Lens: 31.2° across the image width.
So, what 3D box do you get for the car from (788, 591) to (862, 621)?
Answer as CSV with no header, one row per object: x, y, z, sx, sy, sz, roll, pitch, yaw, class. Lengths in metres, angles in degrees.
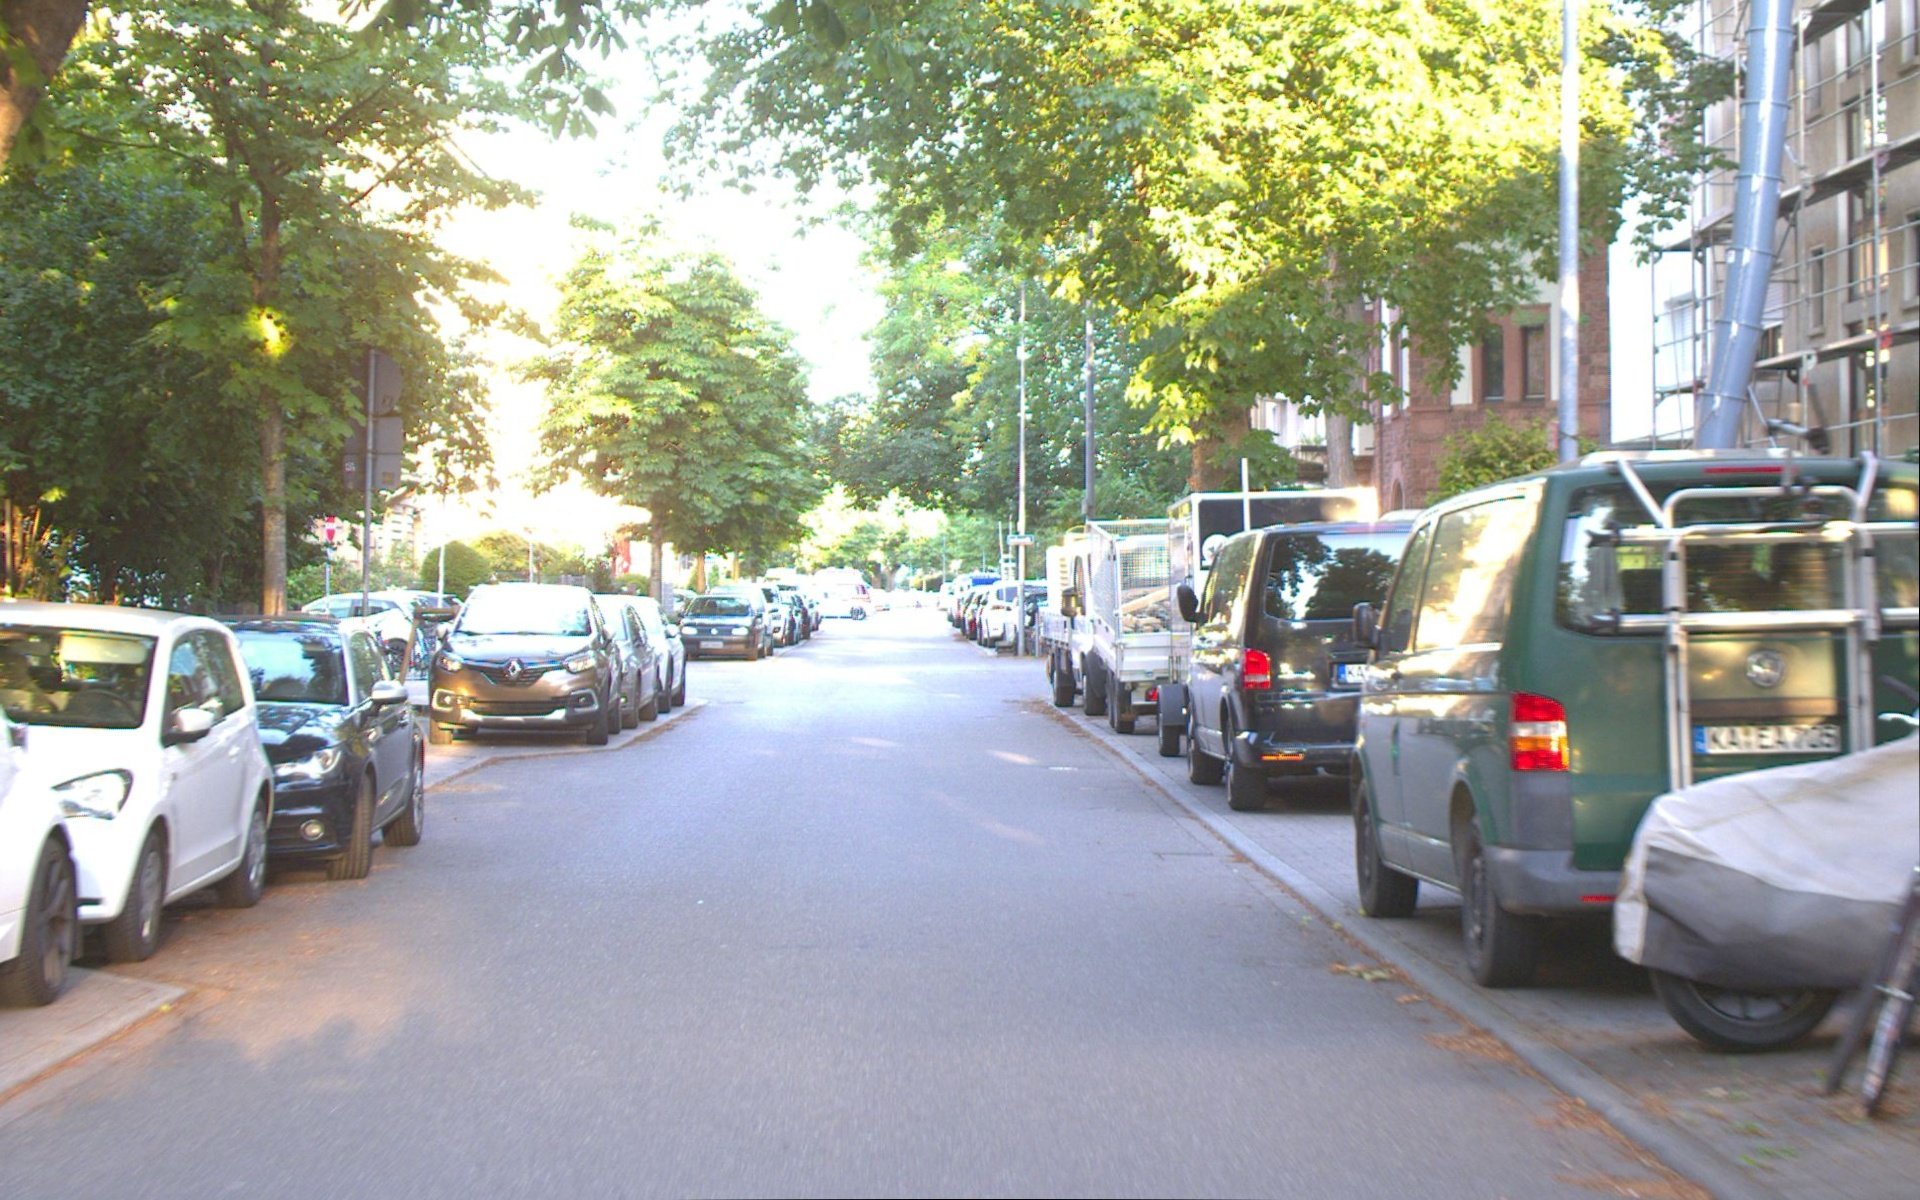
-6.669,0.313,169.687,3.618,1.456,1.607,0,0,-4,car

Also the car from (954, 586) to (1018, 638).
0.752,0.346,101.470,1.686,1.436,4.210,-2,0,-1,car

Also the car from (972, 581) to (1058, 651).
1.350,0.396,86.227,1.798,1.705,4.601,-1,0,-4,car

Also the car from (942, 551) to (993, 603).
0.256,-0.859,130.057,1.680,1.934,3.881,0,0,-4,car

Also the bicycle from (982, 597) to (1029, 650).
1.035,0.527,77.159,0.444,1.169,1.634,0,0,24,bicycle

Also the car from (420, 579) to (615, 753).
-4.425,0.615,34.875,1.689,1.558,4.403,2,1,-4,car

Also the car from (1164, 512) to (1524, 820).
2.666,0.397,24.916,1.839,1.936,4.614,-3,1,-2,car

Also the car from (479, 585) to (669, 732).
-4.406,0.650,39.794,1.689,1.497,4.402,4,0,-1,car

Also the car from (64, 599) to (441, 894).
-4.003,0.771,19.950,1.551,1.480,3.694,-1,1,-3,car

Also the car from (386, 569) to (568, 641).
-11.523,0.115,82.145,4.092,1.522,1.709,3,0,-2,car

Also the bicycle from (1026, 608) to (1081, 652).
2.093,0.671,76.948,1.224,0.948,0.330,-1,2,-28,bicycle

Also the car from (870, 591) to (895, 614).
-5.506,0.162,244.493,1.813,1.590,3.483,0,0,-1,car

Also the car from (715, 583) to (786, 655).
-4.882,0.422,79.877,1.595,1.598,3.745,0,0,-4,car

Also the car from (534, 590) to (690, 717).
-4.550,0.663,45.498,1.689,1.497,4.738,2,1,-2,car

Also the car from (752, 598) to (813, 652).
-5.316,0.727,103.185,1.715,1.561,3.788,0,0,-1,car

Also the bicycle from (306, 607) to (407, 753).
-5.560,0.720,31.727,0.482,1.251,1.900,3,1,2,bicycle

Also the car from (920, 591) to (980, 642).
-0.344,0.529,109.309,1.686,1.600,3.940,0,0,-4,car

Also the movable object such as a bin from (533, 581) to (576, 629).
-11.557,0.152,97.928,1.013,1.316,1.005,2,1,4,movable object such as a bin

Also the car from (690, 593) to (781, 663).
-4.873,0.592,75.002,1.616,1.465,3.961,0,0,1,car

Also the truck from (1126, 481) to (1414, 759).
2.719,0.130,31.218,1.954,2.239,4.645,-3,1,-2,truck

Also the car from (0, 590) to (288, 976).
-4.214,0.737,15.814,1.551,1.480,3.694,2,1,-1,car

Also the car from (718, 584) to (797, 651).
-5.357,0.449,91.343,1.921,1.711,4.428,0,0,-1,car

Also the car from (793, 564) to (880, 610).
-6.185,-0.669,172.392,4.349,2.310,1.746,0,0,-2,car

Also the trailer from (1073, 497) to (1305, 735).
2.366,0.138,36.662,1.954,2.288,4.645,-3,1,-1,trailer

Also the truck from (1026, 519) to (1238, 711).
2.089,0.181,43.746,1.977,2.237,6.777,-1,0,-3,truck

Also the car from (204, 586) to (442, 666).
-11.998,0.478,64.843,4.094,1.442,1.708,0,1,8,car

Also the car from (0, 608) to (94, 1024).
-4.134,0.750,11.261,1.603,1.430,3.885,2,1,-1,car

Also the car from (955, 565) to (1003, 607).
0.671,-0.501,125.914,1.538,1.516,3.432,0,0,-4,car

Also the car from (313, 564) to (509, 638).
-11.123,0.010,69.765,3.564,1.442,1.817,0,1,8,car

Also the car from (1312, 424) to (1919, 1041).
2.776,0.403,14.253,1.954,2.052,4.831,-3,1,-1,car

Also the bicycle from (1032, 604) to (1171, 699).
2.030,0.736,49.315,1.902,1.254,0.407,-3,0,-6,bicycle

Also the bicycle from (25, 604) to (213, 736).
-8.630,0.704,35.398,0.606,1.280,2.483,-1,0,19,bicycle

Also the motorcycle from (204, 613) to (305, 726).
-8.132,0.776,39.749,0.582,1.152,2.892,2,1,-1,motorcycle

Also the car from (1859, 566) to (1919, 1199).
2.645,0.676,4.834,1.664,1.494,3.694,-3,1,-1,car
